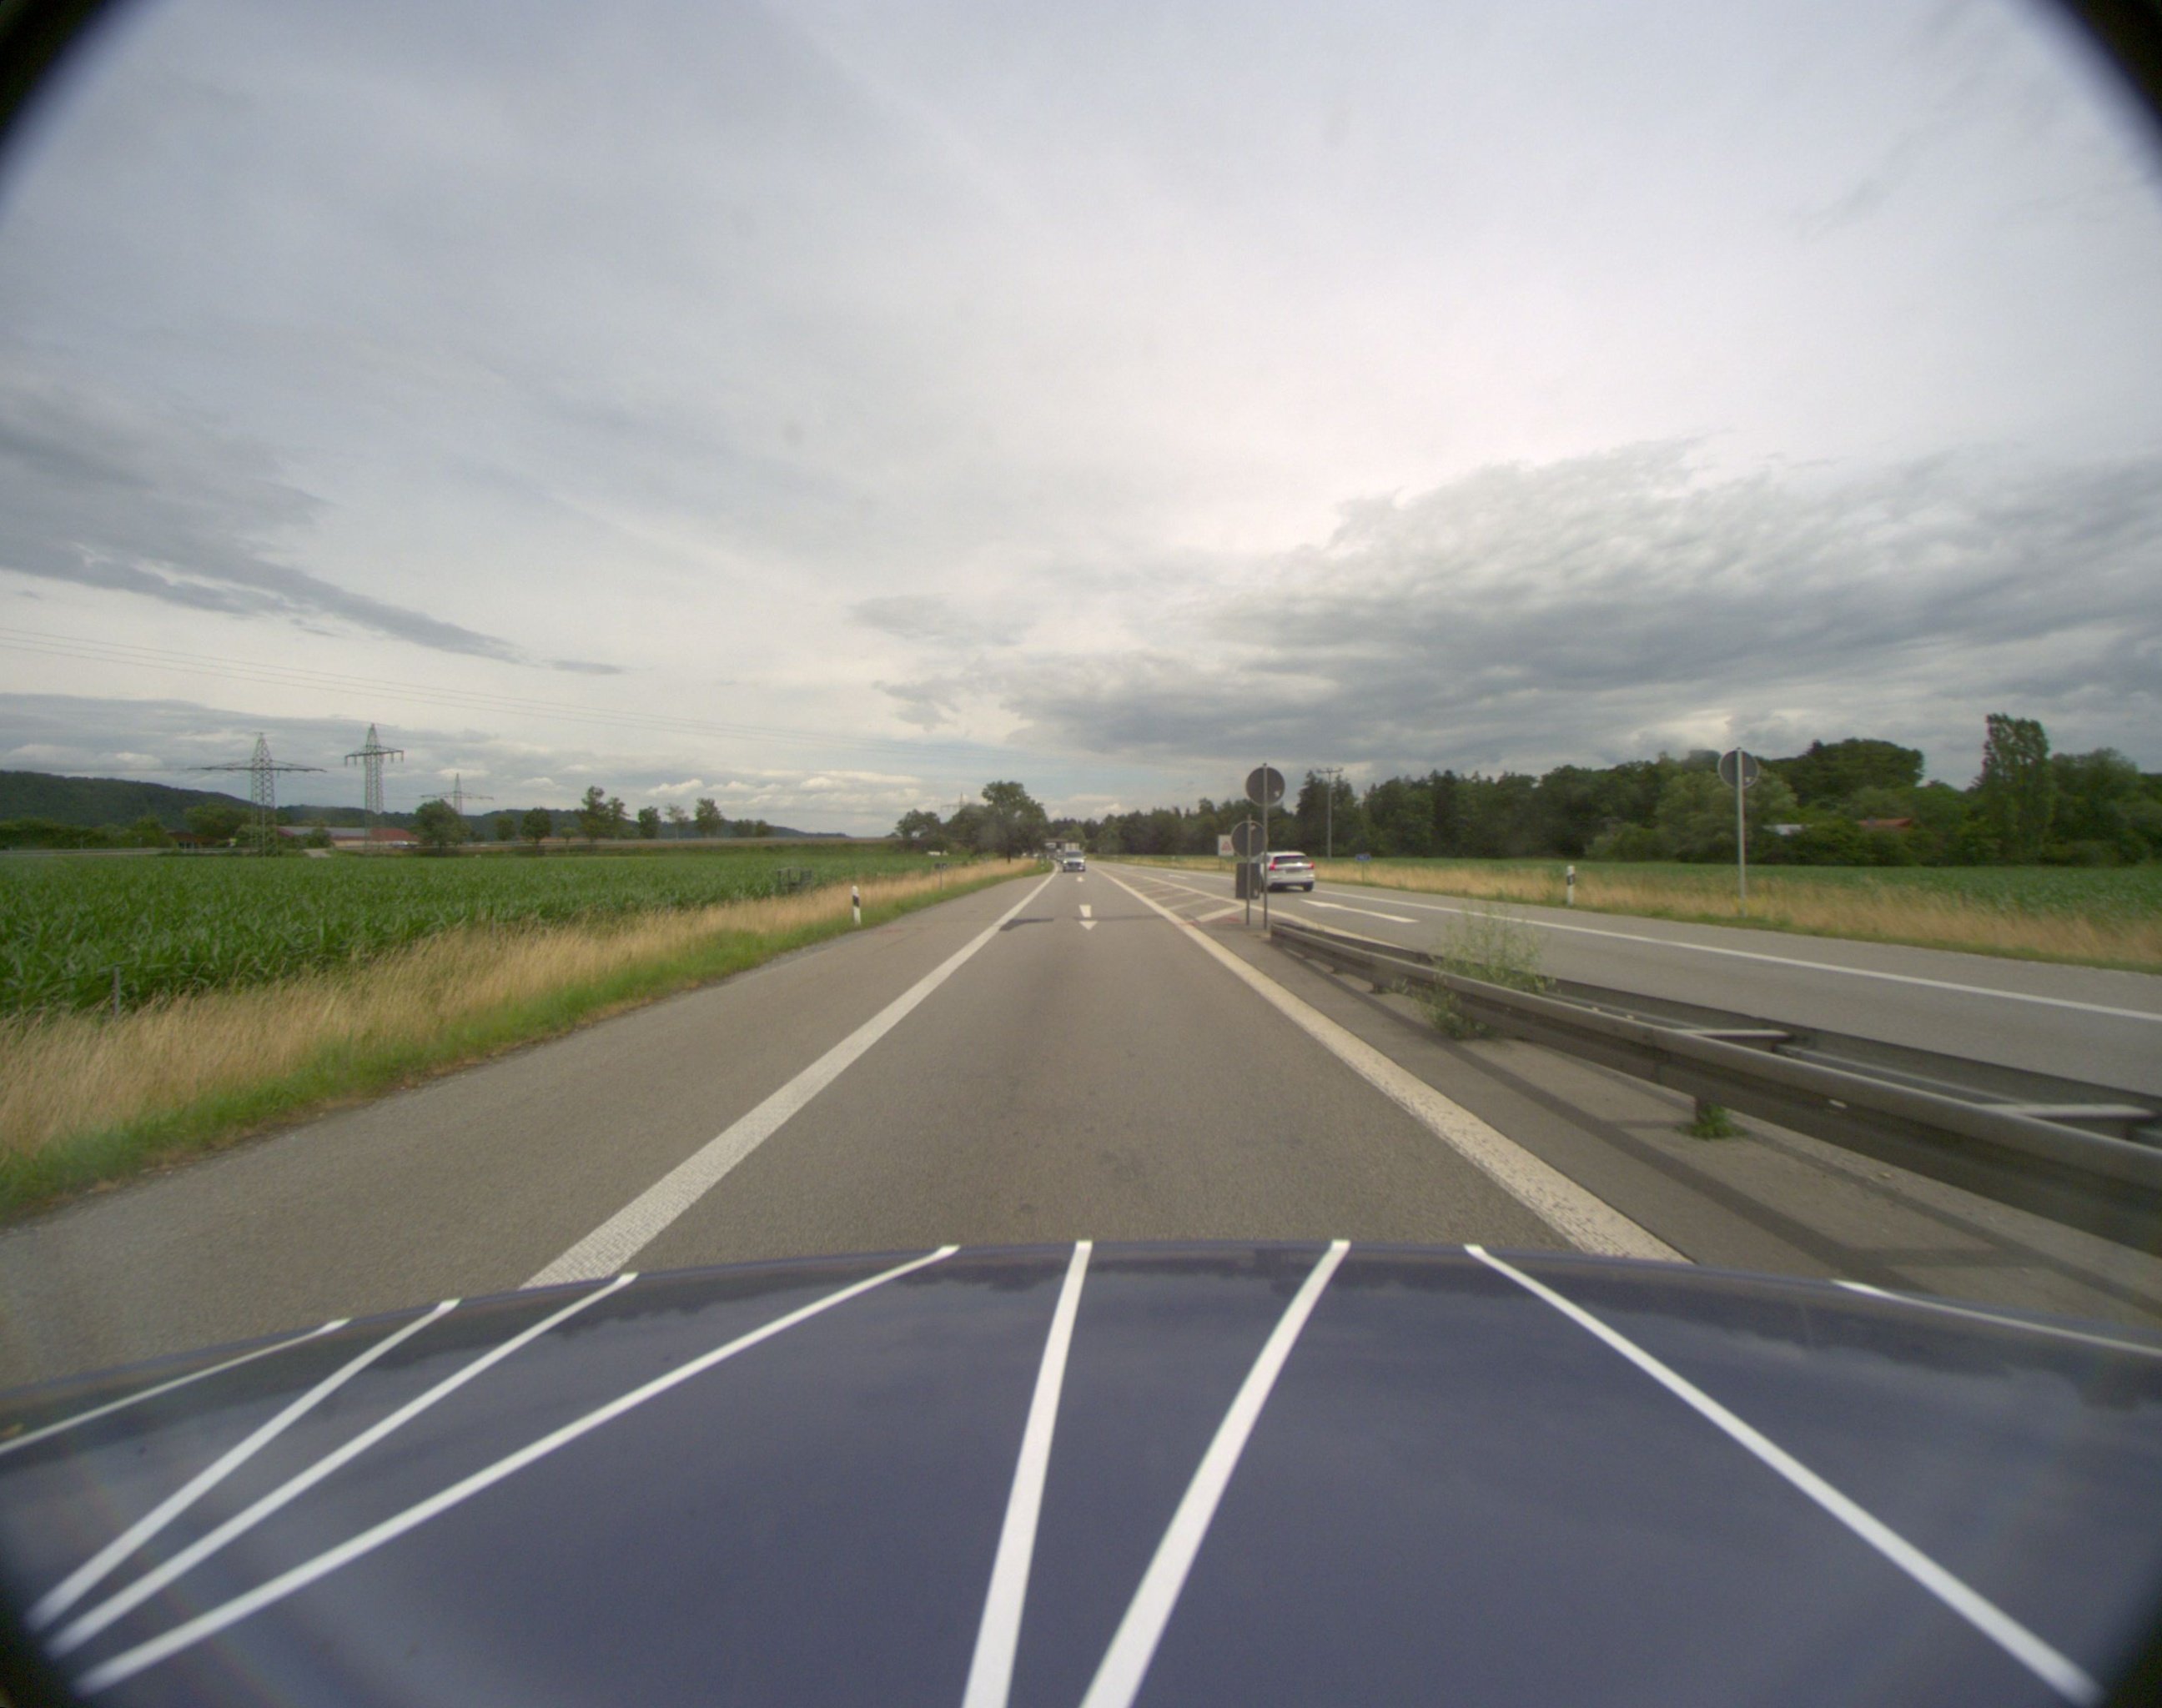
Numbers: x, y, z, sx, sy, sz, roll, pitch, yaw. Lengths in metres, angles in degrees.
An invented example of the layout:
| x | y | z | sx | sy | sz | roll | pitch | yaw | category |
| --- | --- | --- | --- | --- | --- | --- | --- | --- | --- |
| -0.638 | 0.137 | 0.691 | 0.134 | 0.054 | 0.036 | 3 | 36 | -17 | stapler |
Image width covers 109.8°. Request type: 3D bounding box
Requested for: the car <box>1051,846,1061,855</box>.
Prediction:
| x | y | z | sx | sy | sz | roll | pitch | yaw | category |
| --- | --- | --- | --- | --- | --- | --- | --- | --- | --- |
| -6.140 | -0.908 | 185.524 | 1.998 | 2.002 | 4.000 | -2 | 1 | 3 | car |

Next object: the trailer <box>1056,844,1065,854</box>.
| x | y | z | sx | sy | sz | roll | pitch | yaw | category |
| --- | --- | --- | --- | --- | --- | --- | --- | --- | --- |
| -5.840 | -1.424 | 217.694 | 2.188 | 2.560 | 6.241 | -2 | 1 | -3 | trailer |

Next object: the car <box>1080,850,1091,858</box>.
| x | y | z | sx | sy | sz | roll | pitch | yaw | category |
| --- | --- | --- | --- | --- | --- | --- | --- | --- | --- |
| 0.792 | -0.048 | 144.963 | 1.862 | 1.470 | 5.196 | -2 | 1 | -1 | car |

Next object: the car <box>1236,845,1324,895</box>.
| x | y | z | sx | sy | sz | roll | pitch | yaw | category |
| --- | --- | --- | --- | --- | --- | --- | --- | --- | --- |
| 7.241 | 0.513 | 28.182 | 1.822 | 1.623 | 4.600 | -2 | 1 | -3 | car |

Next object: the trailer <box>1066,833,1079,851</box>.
| x | y | z | sx | sy | sz | roll | pitch | yaw | category |
| --- | --- | --- | --- | --- | --- | --- | --- | --- | --- |
| -1.873 | -2.865 | 181.846 | 2.495 | 3.972 | 13.077 | -1 | 0 | 2 | trailer |

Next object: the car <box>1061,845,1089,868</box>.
| x | y | z | sx | sy | sz | roll | pitch | yaw | category |
| --- | --- | --- | --- | --- | --- | --- | --- | --- | --- |
| -0.539 | 0.171 | 65.674 | 1.924 | 1.823 | 3.997 | -2 | 1 | -6 | car |
